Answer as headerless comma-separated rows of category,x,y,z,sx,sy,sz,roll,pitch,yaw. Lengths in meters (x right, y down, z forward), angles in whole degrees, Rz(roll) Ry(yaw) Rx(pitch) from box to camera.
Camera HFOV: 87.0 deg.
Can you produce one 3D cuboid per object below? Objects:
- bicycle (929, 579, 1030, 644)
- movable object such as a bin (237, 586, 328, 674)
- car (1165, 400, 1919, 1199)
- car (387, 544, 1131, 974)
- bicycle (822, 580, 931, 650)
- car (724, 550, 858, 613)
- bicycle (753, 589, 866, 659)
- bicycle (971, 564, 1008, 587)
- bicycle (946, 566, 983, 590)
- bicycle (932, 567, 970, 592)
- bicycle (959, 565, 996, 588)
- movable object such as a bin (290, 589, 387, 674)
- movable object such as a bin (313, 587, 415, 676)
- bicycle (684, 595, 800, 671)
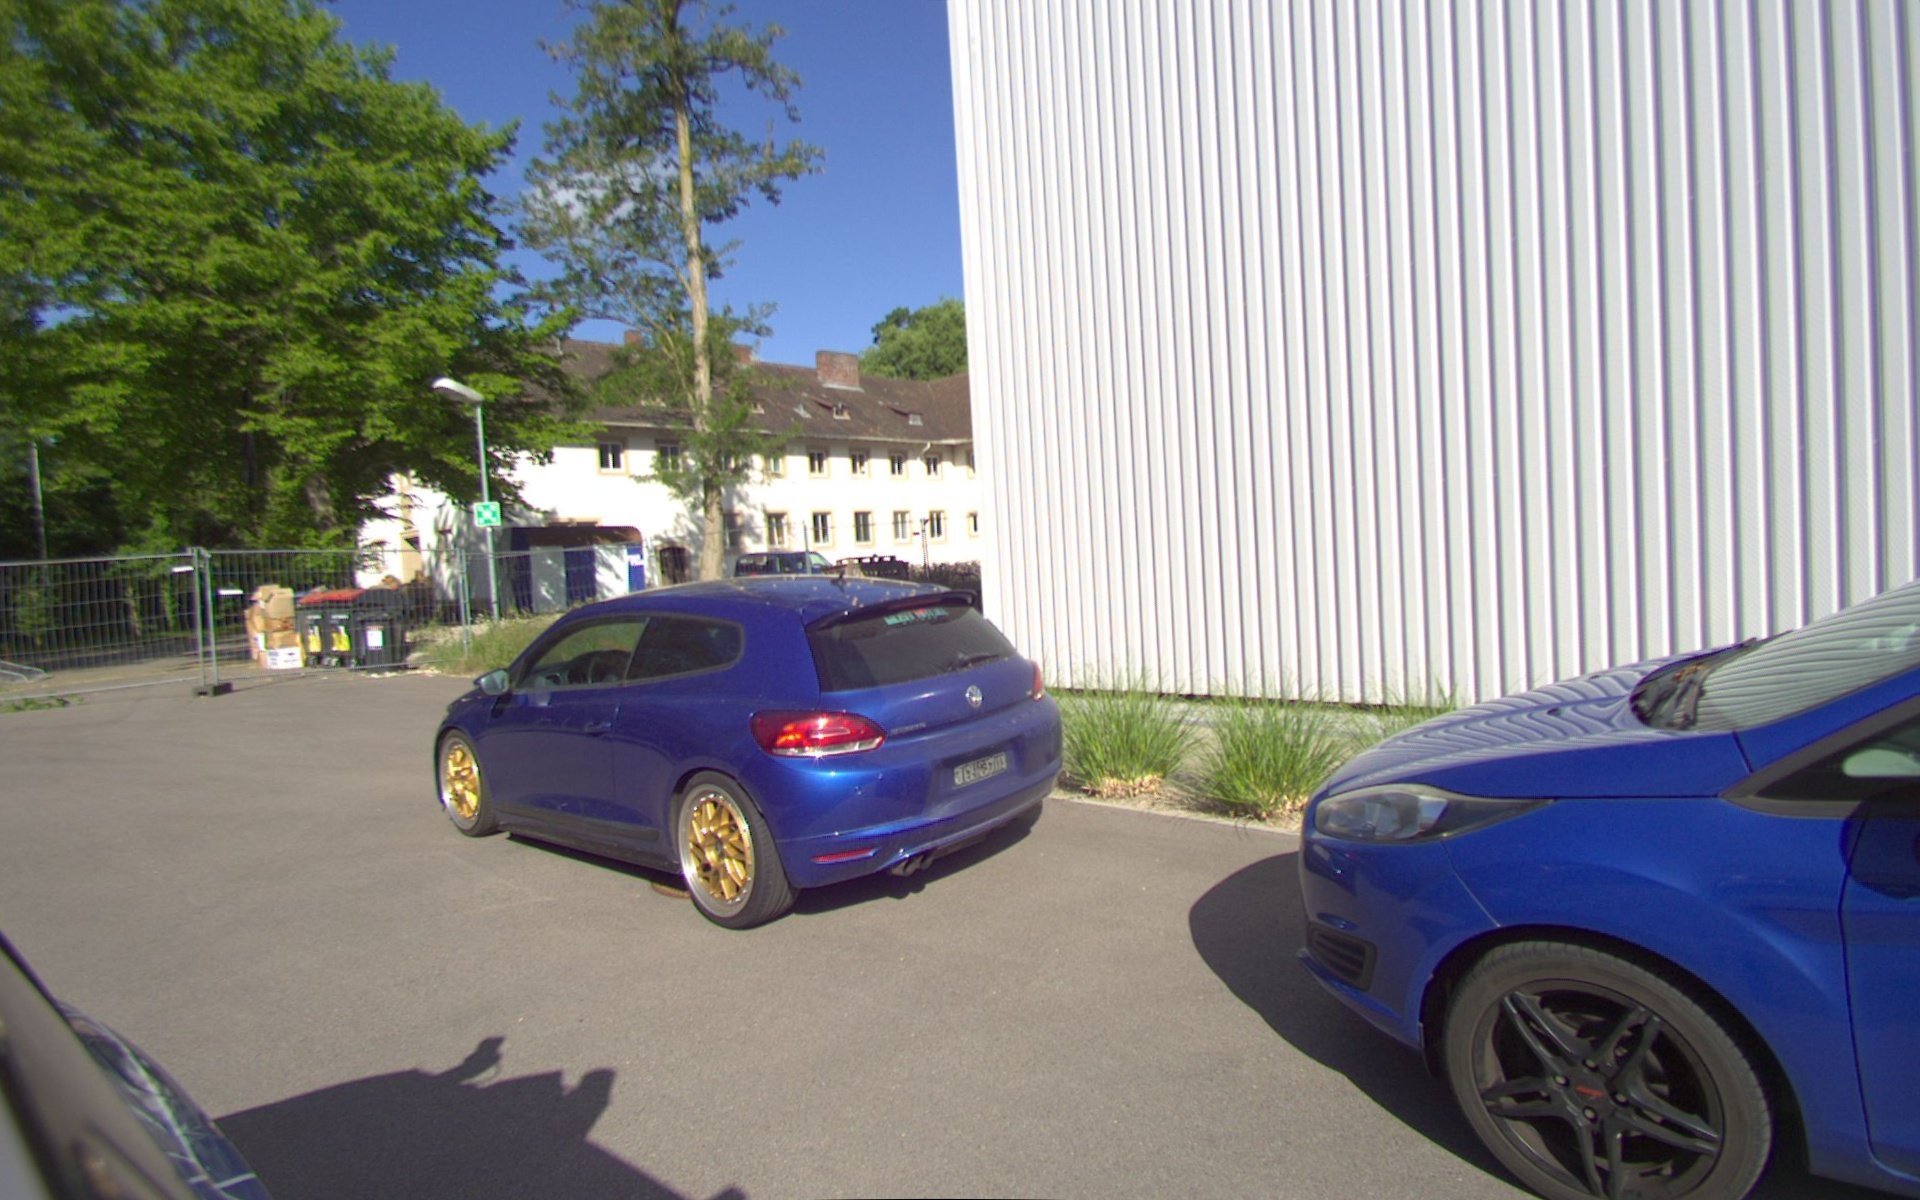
bicycle,0.334,0.219,18.171,1.833,1.096,0.476,-2,3,38
movable object such as a bin,-13.387,0.556,19.997,1.229,1.608,1.080,0,4,38
car,2.594,0.343,1.677,4.094,1.510,1.614,-2,5,42
car,-1.325,0.543,5.379,4.053,1.370,1.755,-2,3,43
bicycle,-1.354,0.255,16.164,1.828,1.044,0.476,-2,3,38
car,-6.153,-0.674,36.584,4.872,2.026,2.032,1,5,40
bicycle,-2.284,0.371,15.227,1.832,0.967,0.476,-2,3,38
bicycle,1.513,-1.284,52.336,0.784,1.141,1.844,-6,5,-41
bicycle,0.230,-1.118,51.047,0.784,1.141,1.846,-6,5,-41
bicycle,-0.451,-1.027,50.313,0.784,1.141,1.846,-6,5,-41
bicycle,0.895,-1.201,51.679,0.784,1.141,1.846,-6,5,-41
movable object such as a bin,-11.687,0.569,19.042,1.229,1.450,1.080,-1,4,38
movable object such as a bin,-10.690,0.547,18.157,1.229,1.442,1.080,-1,4,38
bicycle,-3.125,0.474,14.386,1.832,0.994,0.476,-2,3,38
